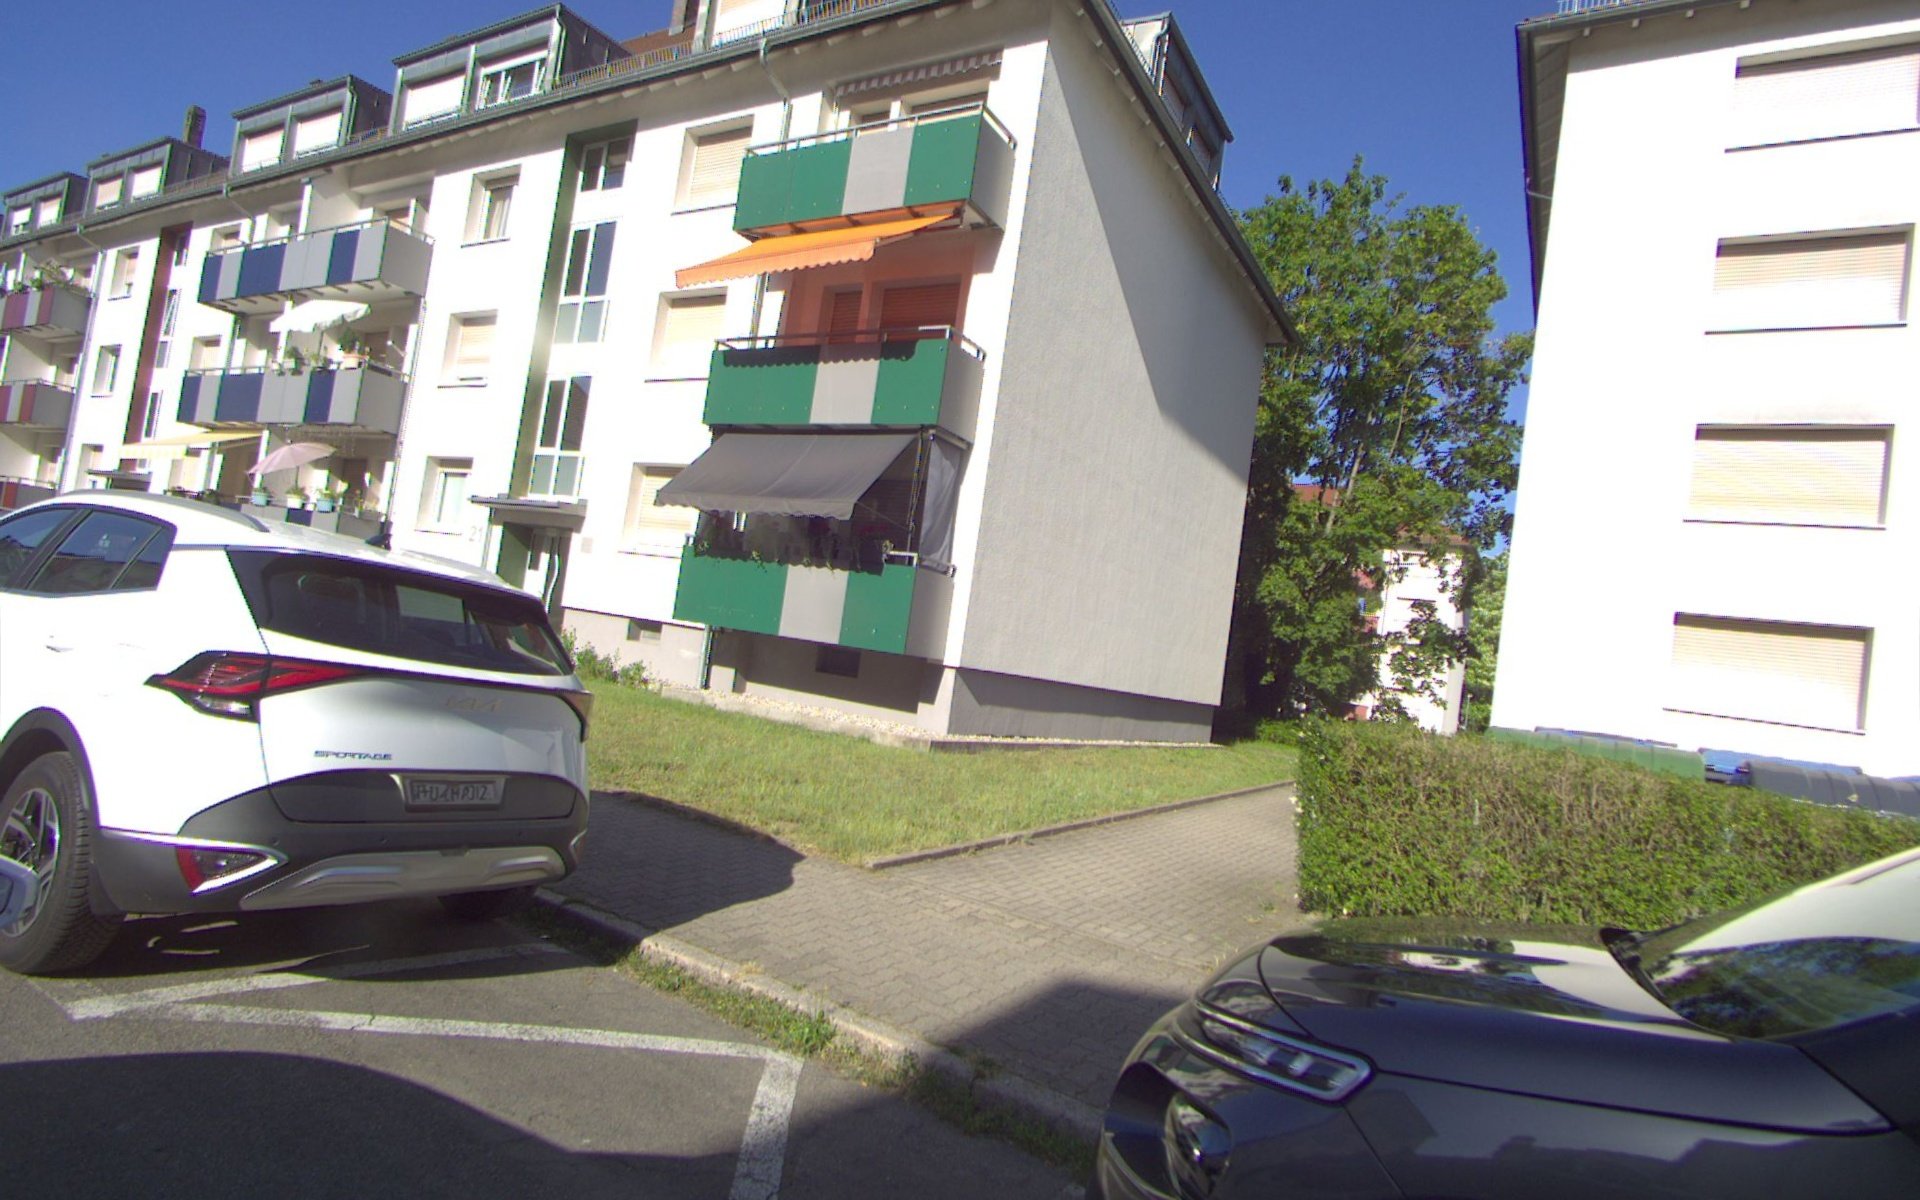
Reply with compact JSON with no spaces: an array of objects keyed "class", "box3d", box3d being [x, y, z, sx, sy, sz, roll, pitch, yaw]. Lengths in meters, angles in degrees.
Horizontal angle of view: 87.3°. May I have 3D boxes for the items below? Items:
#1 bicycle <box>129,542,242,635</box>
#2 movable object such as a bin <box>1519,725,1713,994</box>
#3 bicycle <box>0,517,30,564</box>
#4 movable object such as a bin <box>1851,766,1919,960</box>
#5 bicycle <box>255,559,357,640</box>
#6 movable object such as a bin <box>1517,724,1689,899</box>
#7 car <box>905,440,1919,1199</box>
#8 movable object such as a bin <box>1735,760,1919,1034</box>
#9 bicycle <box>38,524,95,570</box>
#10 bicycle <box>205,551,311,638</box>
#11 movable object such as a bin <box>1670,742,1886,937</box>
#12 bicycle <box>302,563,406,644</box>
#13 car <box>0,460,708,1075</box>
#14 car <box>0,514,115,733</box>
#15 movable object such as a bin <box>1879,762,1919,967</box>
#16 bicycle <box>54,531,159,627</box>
[{"class":"bicycle","box3d":[-11.480,-0.178,14.897,1.841,1.146,0.578,7,-1,31]},{"class":"movable object such as a bin","box3d":[4.248,1.622,6.604,0.852,1.464,0.922,7,-2,30]},{"class":"bicycle","box3d":[-24.759,-1.587,25.921,2.250,1.061,0.521,7,0,32]},{"class":"movable object such as a bin","box3d":[8.445,2.288,8.623,0.906,1.537,0.866,7,-2,30]},{"class":"bicycle","box3d":[-10.626,-0.020,16.326,1.841,1.096,0.539,7,0,31]},{"class":"movable object such as a bin","box3d":[6.569,2.108,10.384,1.256,1.464,1.240,7,-2,29]},{"class":"car","box3d":[2.191,1.016,1.272,4.182,1.817,1.859,7,-6,31]},{"class":"movable object such as a bin","box3d":[5.269,1.698,5.930,0.852,1.340,0.922,7,-2,30]},{"class":"bicycle","box3d":[-23.983,-1.427,26.981,1.942,1.049,0.521,7,-1,32]},{"class":"bicycle","box3d":[-10.966,-0.096,15.697,1.841,1.133,0.545,7,-1,31]},{"class":"movable object such as a bin","box3d":[7.707,2.202,9.593,1.256,1.464,1.240,7,-2,29]},{"class":"bicycle","box3d":[-10.207,0.058,16.919,1.841,1.129,0.597,7,0,31]},{"class":"car","box3d":[-3.562,0.376,4.640,4.504,1.609,1.807,7,-5,31]},{"class":"car","box3d":[-8.321,-0.105,7.496,4.029,1.432,1.697,7,-6,31]},{"class":"movable object such as a bin","box3d":[7.602,2.017,7.412,0.906,1.464,0.866,7,-2,27]},{"class":"bicycle","box3d":[-12.463,-0.317,14.673,1.842,1.184,0.545,7,-1,33]}]
